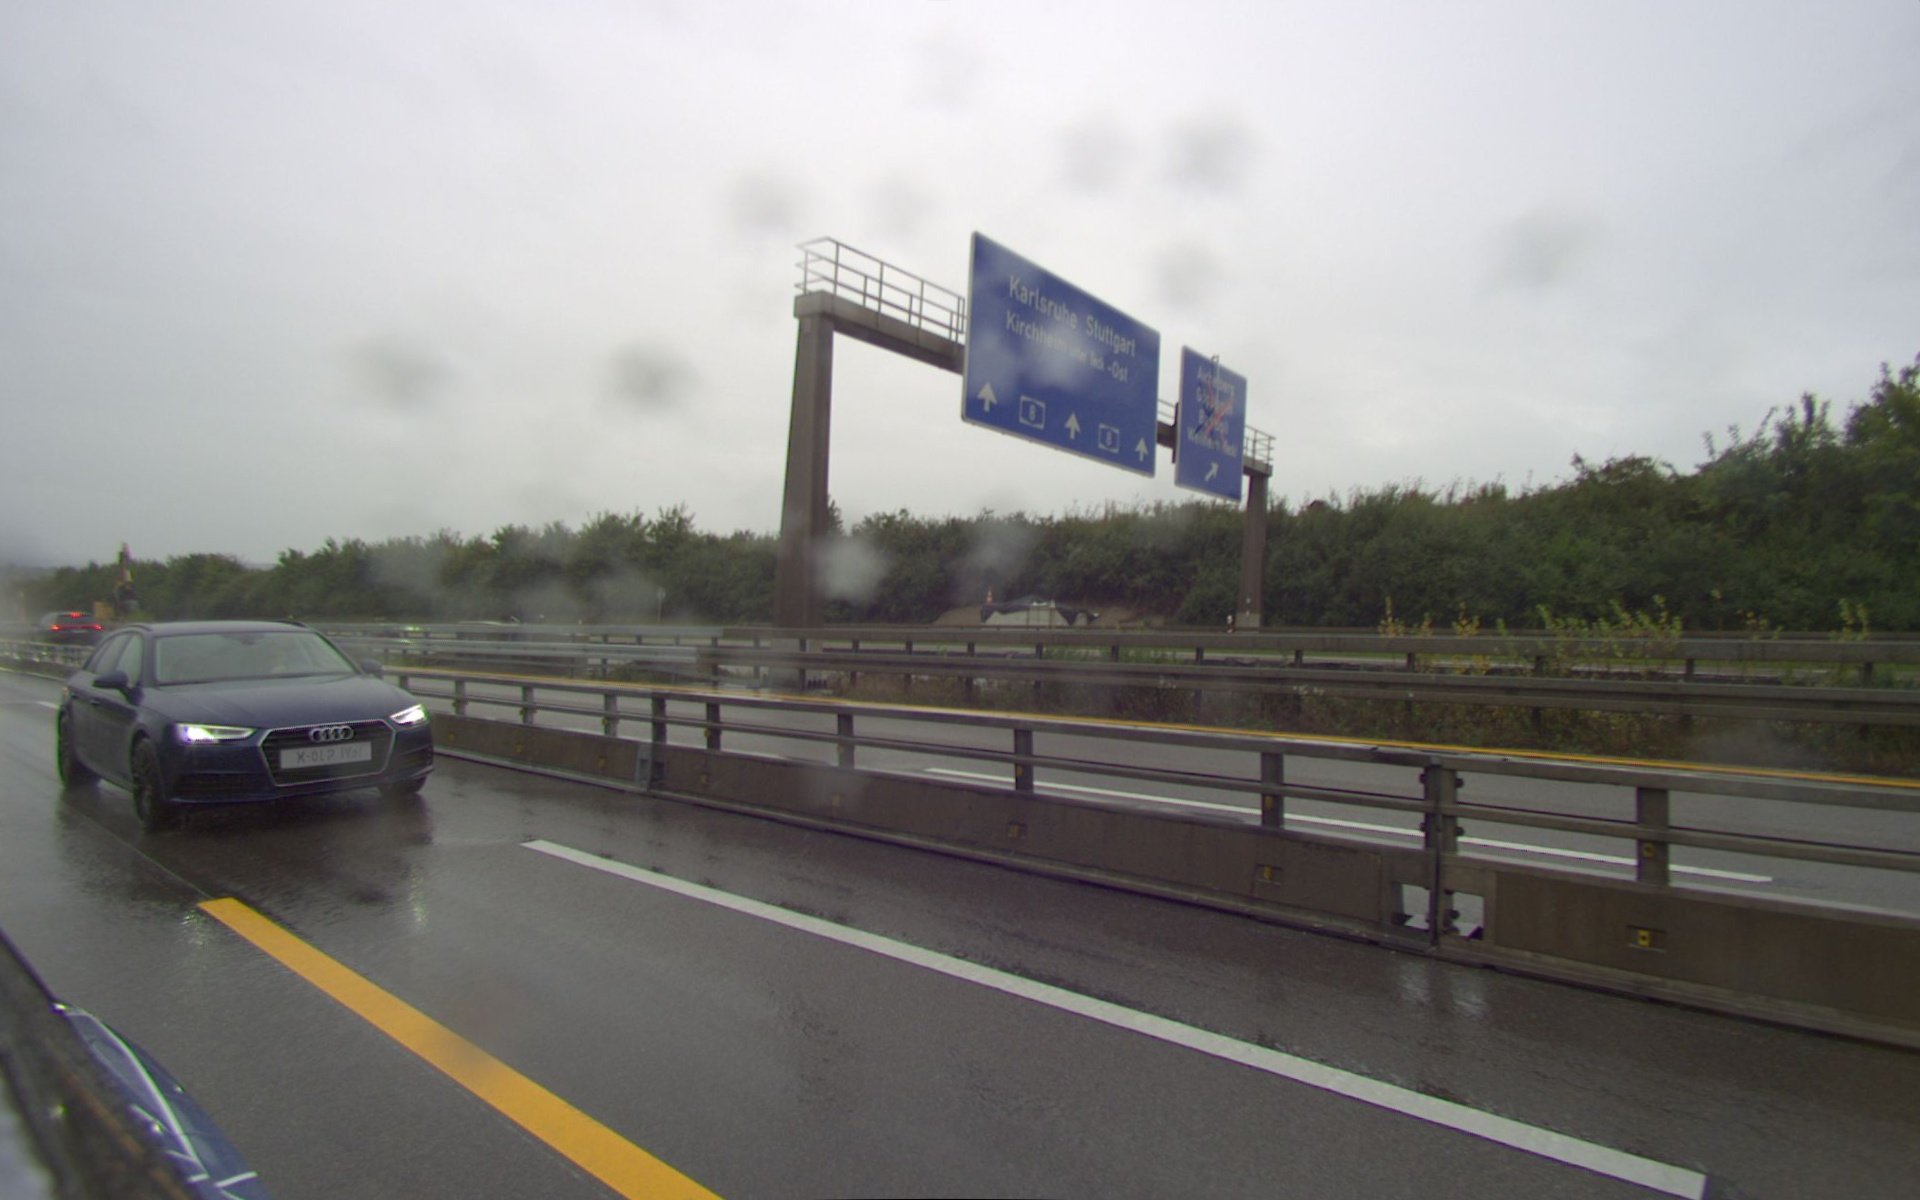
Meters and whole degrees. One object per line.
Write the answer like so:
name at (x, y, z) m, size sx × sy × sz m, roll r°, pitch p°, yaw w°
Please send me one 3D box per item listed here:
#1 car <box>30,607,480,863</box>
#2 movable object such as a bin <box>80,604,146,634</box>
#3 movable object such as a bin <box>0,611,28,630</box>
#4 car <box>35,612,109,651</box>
car at (-5.994, 0.843, 8.358) m, size 4.628 × 1.509 × 1.973 m, roll -1°, pitch 0°, yaw 41°
movable object such as a bin at (-82.544, 1.836, 98.636) m, size 6.322 × 2.819 × 3.729 m, roll -1°, pitch 0°, yaw 38°
movable object such as a bin at (-116.131, 2.488, 122.716) m, size 5.083 × 2.312 × 3.412 m, roll -1°, pitch 0°, yaw 31°
car at (-38.962, 1.346, 44.358) m, size 4.312 × 1.616 × 1.761 m, roll -1°, pitch 0°, yaw 39°
